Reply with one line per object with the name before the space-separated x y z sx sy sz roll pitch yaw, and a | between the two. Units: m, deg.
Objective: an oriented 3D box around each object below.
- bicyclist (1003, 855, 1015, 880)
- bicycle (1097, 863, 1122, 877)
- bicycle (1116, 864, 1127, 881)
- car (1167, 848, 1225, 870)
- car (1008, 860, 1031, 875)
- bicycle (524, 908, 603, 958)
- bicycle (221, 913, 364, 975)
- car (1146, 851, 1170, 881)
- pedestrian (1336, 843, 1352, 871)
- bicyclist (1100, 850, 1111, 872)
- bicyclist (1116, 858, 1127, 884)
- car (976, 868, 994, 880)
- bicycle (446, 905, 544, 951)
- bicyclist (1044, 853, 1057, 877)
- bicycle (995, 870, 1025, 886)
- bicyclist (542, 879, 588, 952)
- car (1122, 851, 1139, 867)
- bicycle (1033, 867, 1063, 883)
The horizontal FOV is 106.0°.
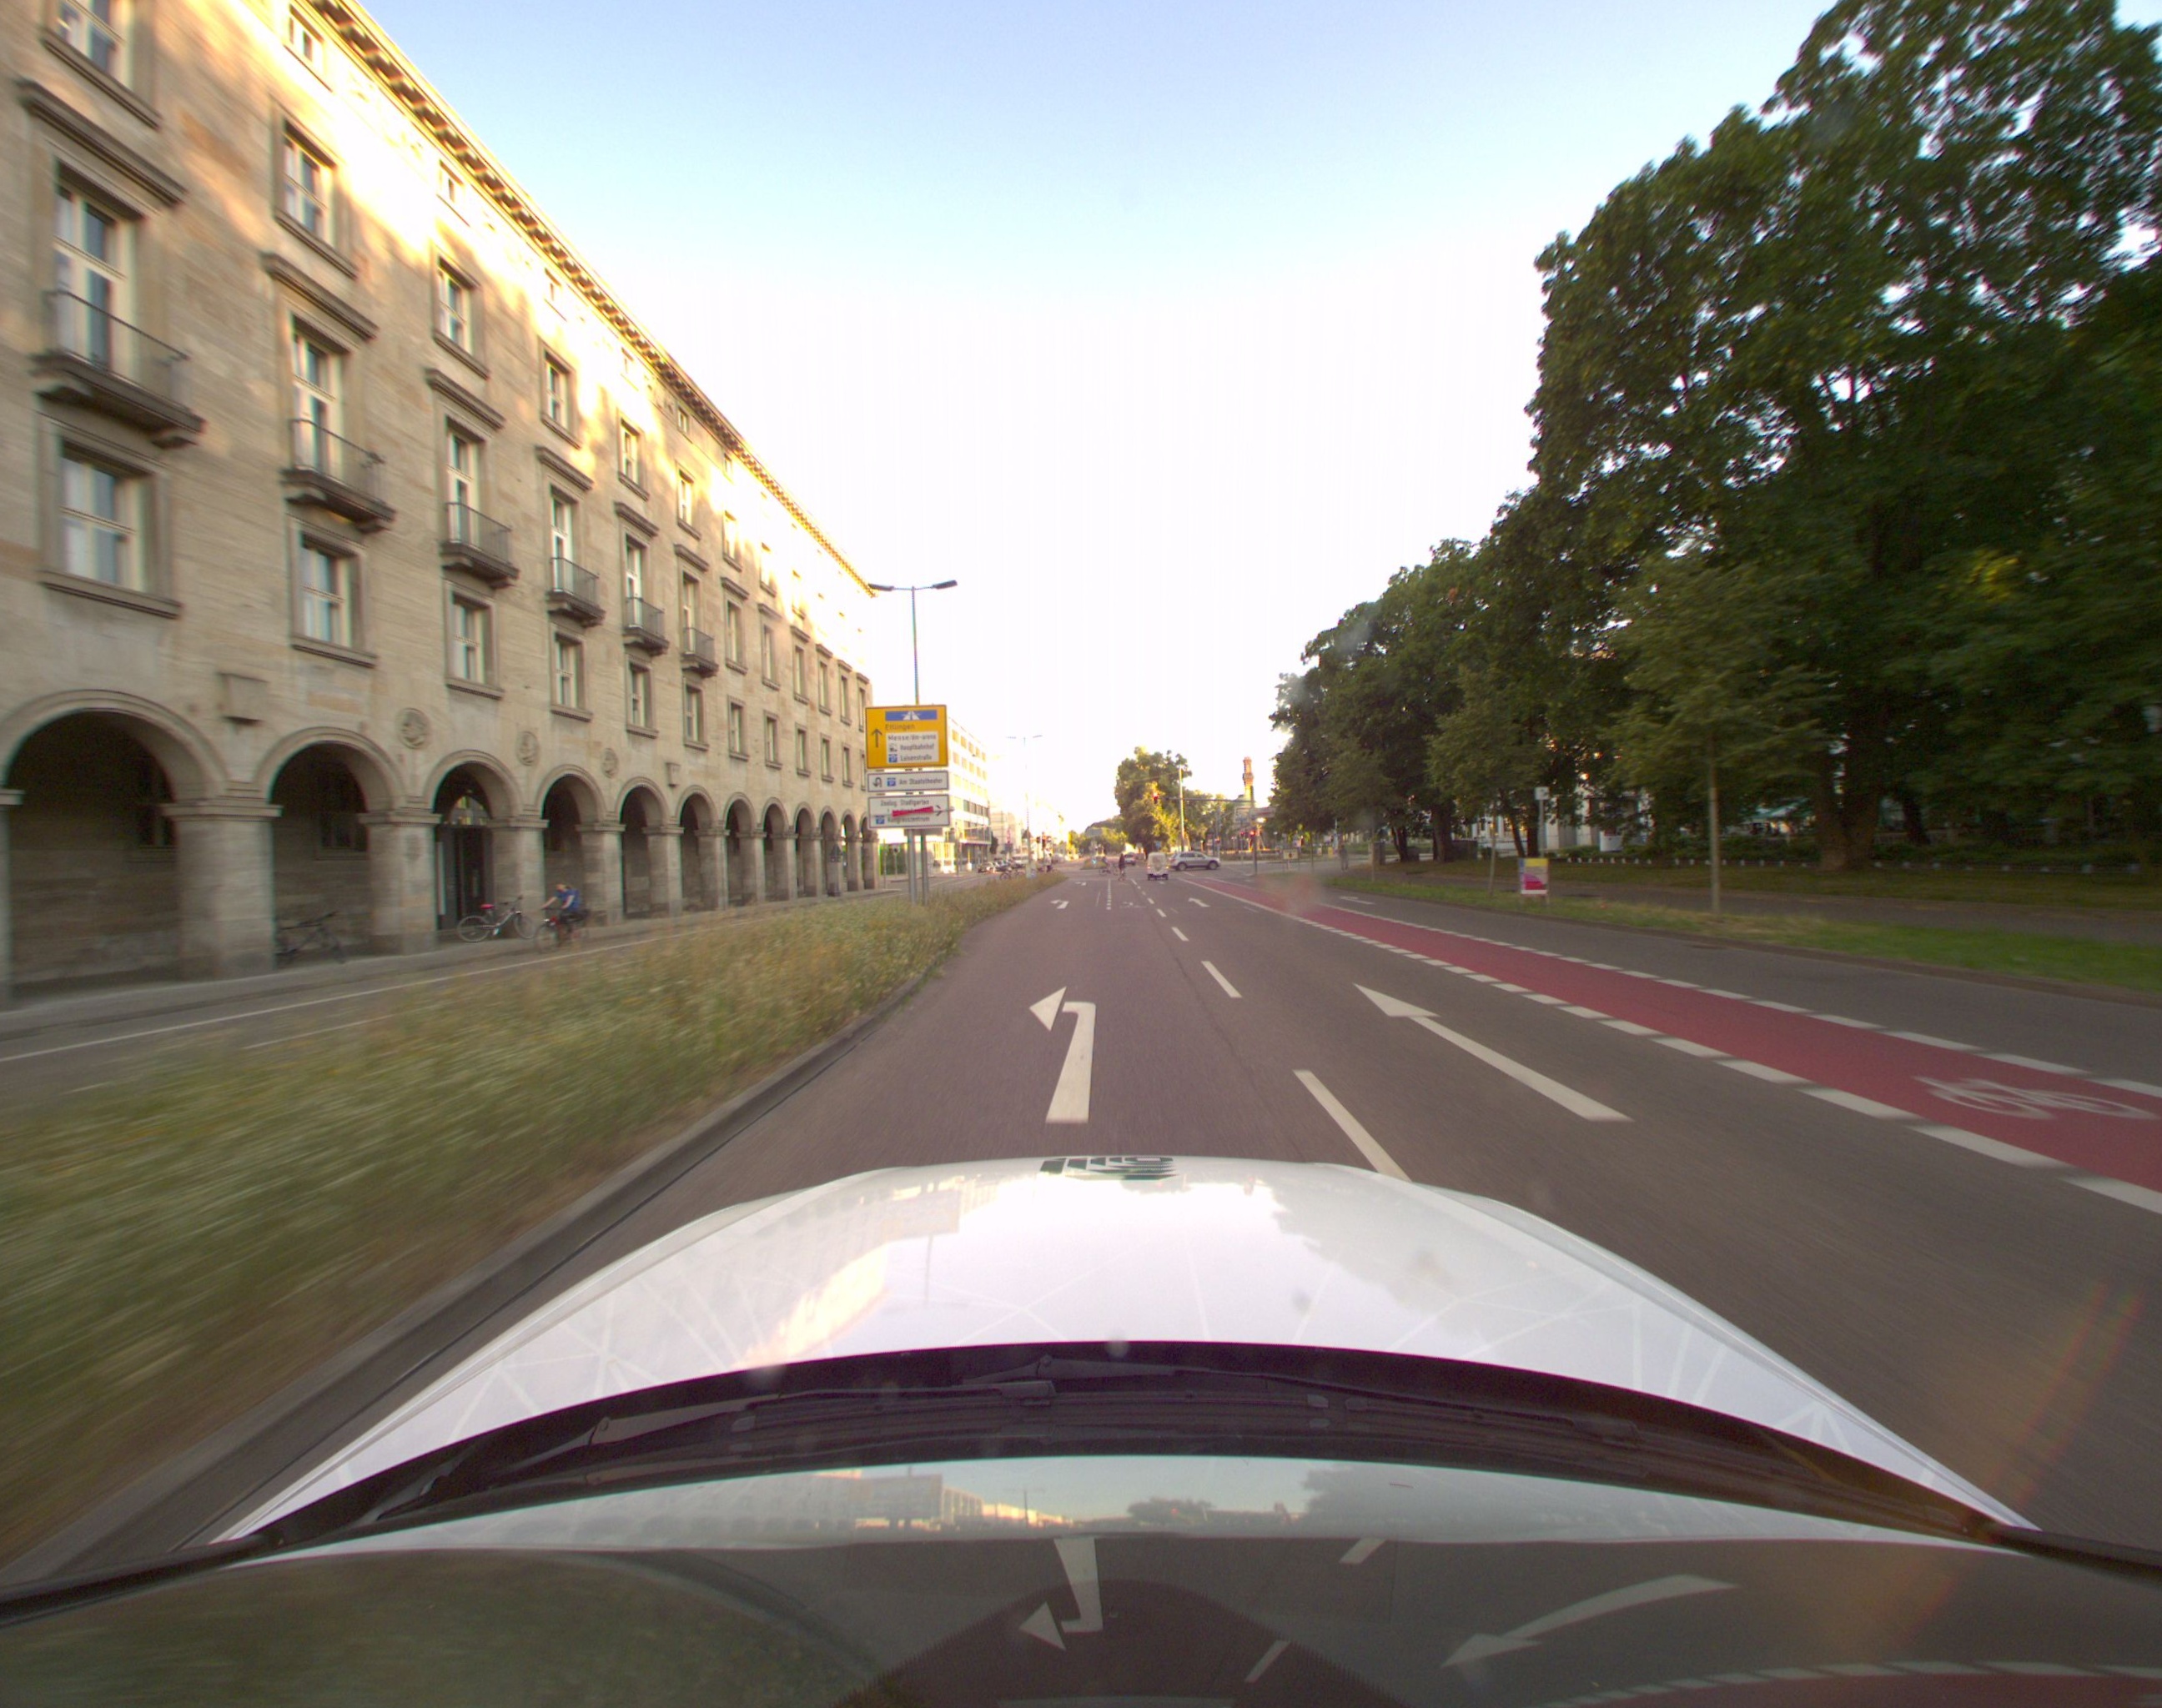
bicyclist | -5.070 0.954 57.565 0.744 1.693 0.714 -3 -1 -2
bicycle | 2.284 1.284 65.066 1.888 1.069 0.732 -2 -1 4
bicycle | 2.656 1.218 53.245 0.635 1.069 2.070 -2 0 2
car | 9.830 0.459 69.647 4.528 1.648 1.995 -3 -1 -7
car | -10.687 2.403 142.334 2.161 2.385 6.010 -3 -3 13
bicycle | -12.450 1.876 19.668 0.539 1.005 2.006 -3 -1 2
bicycle | -15.636 1.763 16.229 0.473 1.005 2.015 -3 -1 21
car | 4.942 0.750 52.616 1.453 1.780 2.567 -2 0 4
pedestrian | 16.482 0.181 50.980 0.693 1.693 0.748 -3 -1 0
bicyclist | 1.974 0.539 65.104 0.742 1.693 0.716 -3 -1 5
bicyclist | 2.626 1.106 52.931 0.626 1.693 0.749 -3 -1 1
car | -13.295 2.820 112.764 1.790 1.475 4.000 -3 -3 1
bicycle | -15.259 1.911 21.262 0.472 1.005 2.018 -3 -1 38
bicyclist | -2.226 0.791 59.444 0.743 1.693 0.766 -3 -1 4
bicycle | -4.994 1.725 57.531 2.009 1.069 0.730 -1 -3 -1
bicyclist | -12.463 1.479 19.686 0.534 1.693 0.749 -3 -1 3
car | 6.620 0.723 108.952 1.986 2.013 4.000 -3 -1 1
bicycle | -2.383 1.502 59.434 2.049 1.069 0.787 -3 -1 3
